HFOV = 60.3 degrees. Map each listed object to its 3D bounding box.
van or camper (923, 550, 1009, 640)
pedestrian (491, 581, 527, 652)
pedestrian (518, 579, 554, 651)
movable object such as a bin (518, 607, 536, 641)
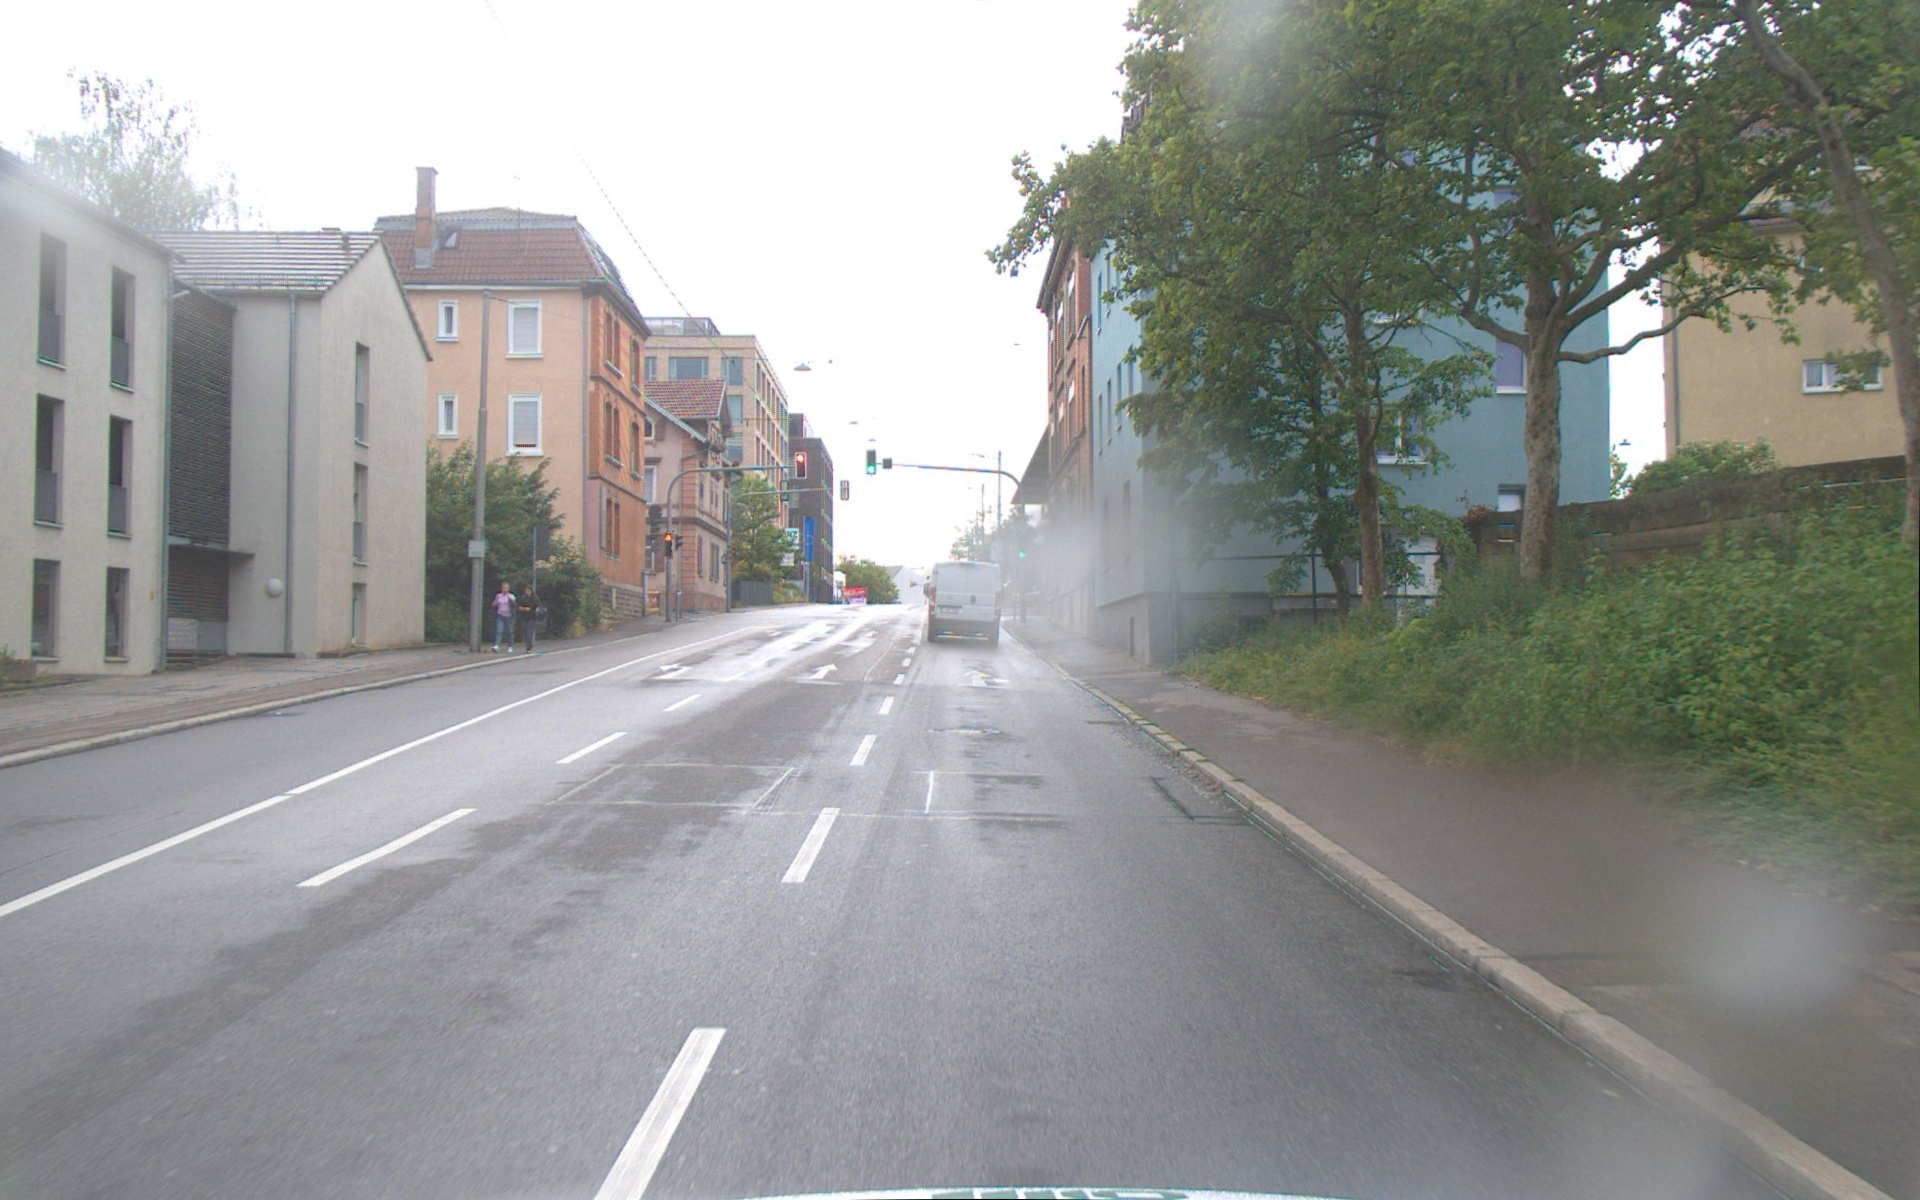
[{"bbox_3d":[0.169,-0.124,47.495,2.292,2.398,5.199,1,0,0],"label":"van or camper"},{"bbox_3d":[-11.131,0.394,40.819,0.627,1.736,0.911,1,0,0],"label":"pedestrian"},{"bbox_3d":[-10.469,0.365,40.850,0.627,1.736,0.911,1,0,0],"label":"pedestrian"},{"bbox_3d":[-12.354,0.684,47.226,0.401,0.941,0.525,1,0,-7],"label":"movable object such as a bin"}]
